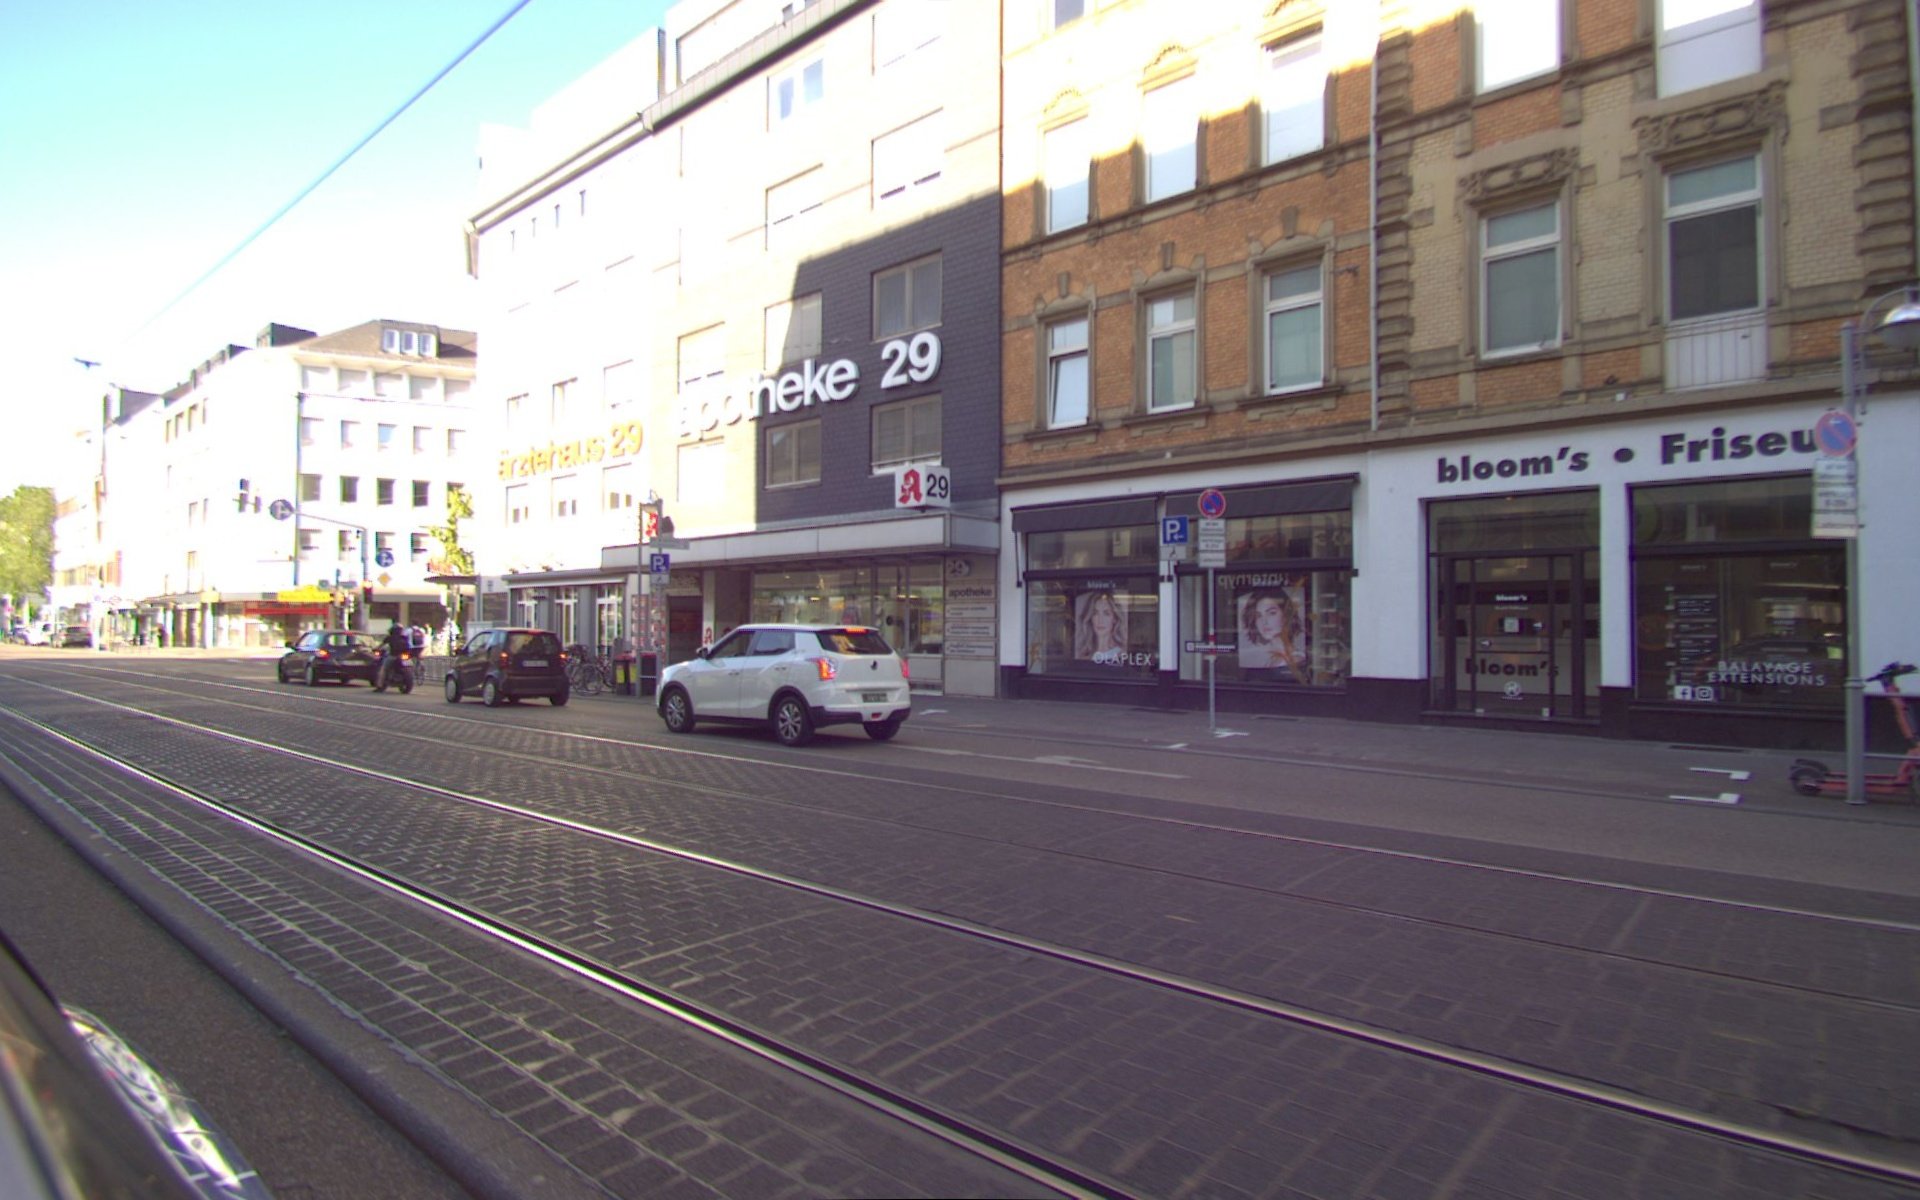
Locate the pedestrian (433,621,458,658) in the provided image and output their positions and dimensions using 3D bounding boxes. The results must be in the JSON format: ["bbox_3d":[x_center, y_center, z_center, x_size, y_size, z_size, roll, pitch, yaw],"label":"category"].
[{"bbox_3d":[-26.284,2.013,51.730,0.985,1.881,0.782,1,-5,-39],"label":"pedestrian"}]

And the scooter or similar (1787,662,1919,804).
[{"bbox_3d":[8.535,1.197,9.238,1.475,1.211,0.573,-2,-1,38],"label":"scooter or similar"}]

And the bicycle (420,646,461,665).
[{"bbox_3d":[-26.773,2.860,52.172,1.765,0.976,0.555,2,-3,-37],"label":"bicycle"}]

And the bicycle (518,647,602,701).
[{"bbox_3d":[-10.285,1.873,26.063,0.772,1.289,1.917,-2,-1,36],"label":"bicycle"}]

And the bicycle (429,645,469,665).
[{"bbox_3d":[-26.149,2.819,51.769,1.697,1.015,0.762,2,-6,-37],"label":"bicycle"}]

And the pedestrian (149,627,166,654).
[{"bbox_3d":[-52.164,2.653,65.786,0.700,1.722,0.562,1,-3,-28],"label":"pedestrian"}]

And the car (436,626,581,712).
[{"bbox_3d":[-9.054,1.329,20.252,2.828,1.578,1.631,-2,-3,42],"label":"car"}]

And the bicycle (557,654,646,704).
[{"bbox_3d":[-8.622,1.877,24.416,0.772,1.119,1.917,-2,-3,36],"label":"bicycle"}]

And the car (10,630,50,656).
[{"bbox_3d":[-75.595,3.493,82.255,3.998,2.029,1.973,-2,-3,41],"label":"car"}]

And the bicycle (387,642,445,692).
[{"bbox_3d":[-15.104,1.833,28.098,2.024,1.303,0.742,-2,-3,41],"label":"bicycle"}]

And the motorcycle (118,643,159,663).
[{"bbox_3d":[-61.852,3.965,76.229,0.999,1.517,2.226,-2,-3,38],"label":"motorcycle"}]

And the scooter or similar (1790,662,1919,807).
[{"bbox_3d":[8.246,1.163,8.851,1.475,1.211,0.360,-2,-1,38],"label":"scooter or similar"}]

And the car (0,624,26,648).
[{"bbox_3d":[-84.253,3.181,89.492,3.998,2.029,1.973,-2,-3,41],"label":"car"}]

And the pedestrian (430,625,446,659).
[{"bbox_3d":[-26.935,2.141,52.236,0.550,1.741,0.782,1,-2,-39],"label":"pedestrian"}]

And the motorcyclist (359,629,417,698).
[{"bbox_3d":[-13.377,1.479,23.665,1.145,1.570,0.794,-2,-4,42],"label":"motorcyclist"}]

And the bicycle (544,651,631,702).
[{"bbox_3d":[-9.203,1.866,25.050,0.772,1.161,1.917,-2,-2,36],"label":"bicycle"}]

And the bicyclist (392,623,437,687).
[{"bbox_3d":[-15.146,1.508,28.114,1.146,1.742,0.742,-2,-3,42],"label":"bicyclist"}]

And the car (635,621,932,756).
[{"bbox_3d":[-2.582,1.160,14.221,4.261,1.606,1.870,-2,-4,42],"label":"car"}]

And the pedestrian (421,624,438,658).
[{"bbox_3d":[-27.637,2.136,52.728,0.644,1.725,0.794,1,-2,-40],"label":"pedestrian"}]

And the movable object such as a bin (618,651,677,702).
[{"bbox_3d":[-7.092,1.724,22.994,0.698,1.071,1.088,-2,-2,41],"label":"movable object such as a bin"}]

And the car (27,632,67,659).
[{"bbox_3d":[-71.089,3.500,78.802,4.844,2.029,1.971,-2,-3,44],"label":"car"}]

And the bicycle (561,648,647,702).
[{"bbox_3d":[-8.295,1.726,23.647,0.551,1.199,1.916,-2,-3,37],"label":"bicycle"}]

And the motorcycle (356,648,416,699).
[{"bbox_3d":[-13.555,1.709,23.863,2.116,1.128,0.564,-2,-4,42],"label":"motorcycle"}]

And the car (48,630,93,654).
[{"bbox_3d":[-64.676,3.039,73.578,3.998,1.719,1.973,-2,-3,41],"label":"car"}]

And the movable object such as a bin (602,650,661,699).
[{"bbox_3d":[-7.627,1.715,23.485,0.734,1.080,1.088,-2,-2,41],"label":"movable object such as a bin"}]

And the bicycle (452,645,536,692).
[{"bbox_3d":[-13.217,1.929,28.769,0.772,1.233,2.084,-2,-1,36],"label":"bicycle"}]

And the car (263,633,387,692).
[{"bbox_3d":[-17.079,1.662,27.143,4.137,1.457,1.695,-2,-5,42],"label":"car"}]
